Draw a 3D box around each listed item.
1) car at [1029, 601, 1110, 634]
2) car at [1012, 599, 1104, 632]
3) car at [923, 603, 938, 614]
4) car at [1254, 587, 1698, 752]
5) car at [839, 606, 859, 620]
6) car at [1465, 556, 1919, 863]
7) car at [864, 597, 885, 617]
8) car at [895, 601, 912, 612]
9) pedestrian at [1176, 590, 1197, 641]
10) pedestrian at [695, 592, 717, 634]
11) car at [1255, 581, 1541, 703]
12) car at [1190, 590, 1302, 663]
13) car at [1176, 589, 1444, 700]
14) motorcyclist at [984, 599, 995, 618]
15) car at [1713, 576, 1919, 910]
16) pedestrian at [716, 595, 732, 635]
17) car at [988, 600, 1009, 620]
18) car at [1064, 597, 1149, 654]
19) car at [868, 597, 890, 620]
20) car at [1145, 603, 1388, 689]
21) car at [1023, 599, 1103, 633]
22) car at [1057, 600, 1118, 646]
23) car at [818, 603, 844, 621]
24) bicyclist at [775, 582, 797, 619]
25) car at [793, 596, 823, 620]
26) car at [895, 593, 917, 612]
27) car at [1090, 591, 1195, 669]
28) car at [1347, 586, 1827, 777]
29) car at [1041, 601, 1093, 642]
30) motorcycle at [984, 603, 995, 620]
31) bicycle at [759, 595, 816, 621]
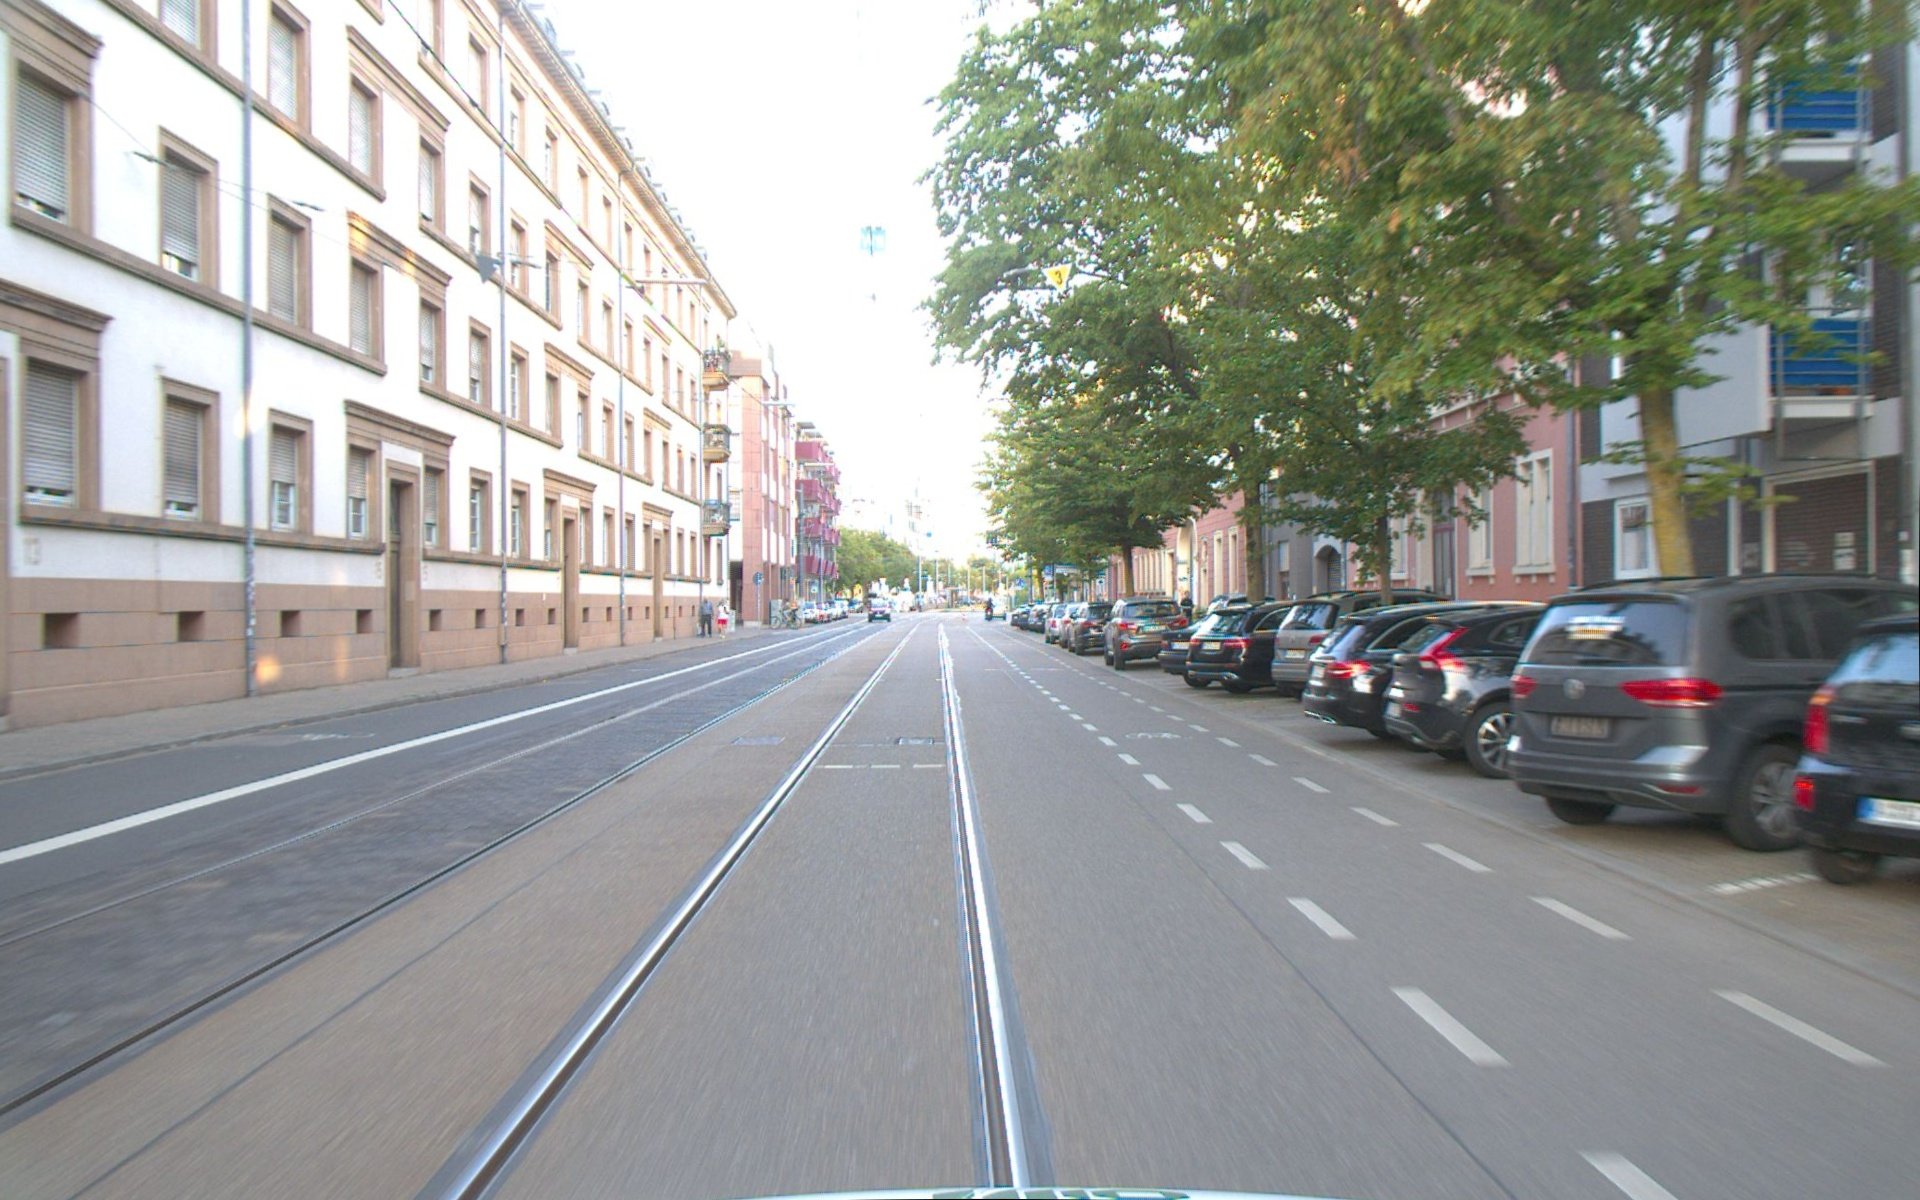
[{"bbox_3d":[5.230,0.820,78.857,3.512,1.454,1.655,-2,0,-26],"label":"car"},{"bbox_3d":[5.128,0.807,86.562,4.386,1.543,2.048,-2,0,-24],"label":"car"},{"bbox_3d":[-4.381,1.232,243.004,1.647,1.464,4.129,-1,0,6],"label":"car"},{"bbox_3d":[5.444,0.667,17.500,4.310,1.489,1.711,-2,0,-19],"label":"car"},{"bbox_3d":[-14.059,1.680,209.970,1.647,1.729,4.242,-1,0,8],"label":"car"},{"bbox_3d":[5.665,0.588,11.118,4.121,1.726,1.834,-2,0,-23],"label":"car"},{"bbox_3d":[-13.442,1.068,260.213,2.154,3.207,6.147,-1,0,7],"label":"car"},{"bbox_3d":[-7.481,0.820,217.994,1.647,1.464,4.129,-1,0,6],"label":"car"},{"bbox_3d":[8.196,0.553,59.781,0.666,1.848,0.600,0,0,0],"label":"pedestrian"},{"bbox_3d":[-10.562,0.541,68.797,0.779,1.731,0.981,0,0,-3],"label":"pedestrian"},{"bbox_3d":[6.578,0.576,24.837,3.932,1.621,1.708,-2,1,-22],"label":"car"},{"bbox_3d":[6.696,0.598,39.103,1.841,1.612,4.019,-1,0,-1],"label":"car"},{"bbox_3d":[5.607,0.667,26.591,3.901,1.580,1.711,-2,1,-19],"label":"car"},{"bbox_3d":[2.276,0.648,127.176,0.811,1.499,1.207,0,0,3],"label":"motorcyclist"},{"bbox_3d":[6.253,0.650,9.002,3.932,1.594,1.708,-1,0,-23],"label":"car"},{"bbox_3d":[-9.812,0.610,68.806,0.579,1.638,0.811,0,0,-3],"label":"pedestrian"},{"bbox_3d":[3.159,0.796,136.123,1.681,1.583,4.204,0,0,1],"label":"car"},{"bbox_3d":[4.217,0.717,48.334,1.953,1.515,5.035,-1,0,0],"label":"car"},{"bbox_3d":[-6.009,0.626,122.425,1.528,1.585,3.752,-2,0,-3],"label":"car"},{"bbox_3d":[5.502,0.780,29.582,4.198,1.412,1.607,0,0,-27],"label":"car"},{"bbox_3d":[5.076,0.791,81.490,3.512,1.543,1.729,-1,0,-26],"label":"car"},{"bbox_3d":[4.250,0.752,55.677,1.744,1.405,4.691,-2,0,1],"label":"car"},{"bbox_3d":[-10.544,0.989,135.304,1.656,1.438,4.677,1,0,2],"label":"car"},{"bbox_3d":[-9.667,0.007,91.937,1.192,2.049,0.945,0,0,-9],"label":"bicyclist"},{"bbox_3d":[-10.523,0.541,114.856,1.682,1.583,4.203,1,0,0],"label":"car"},{"bbox_3d":[-7.289,0.317,223.710,2.409,2.526,5.810,0,0,3],"label":"car"},{"bbox_3d":[4.222,0.671,38.957,1.842,1.646,4.261,-3,0,-1],"label":"car"},{"bbox_3d":[5.723,0.669,15.155,3.926,1.489,1.711,-2,0,-19],"label":"car"},{"bbox_3d":[3.935,0.792,61.248,1.586,1.405,3.775,-2,0,-1],"label":"car"},{"bbox_3d":[2.280,0.867,127.235,0.811,1.261,2.492,0,0,3],"label":"motorcycle"},{"bbox_3d":[-9.605,0.463,91.941,3.112,1.378,0.955,-1,0,-9],"label":"bicycle"}]
